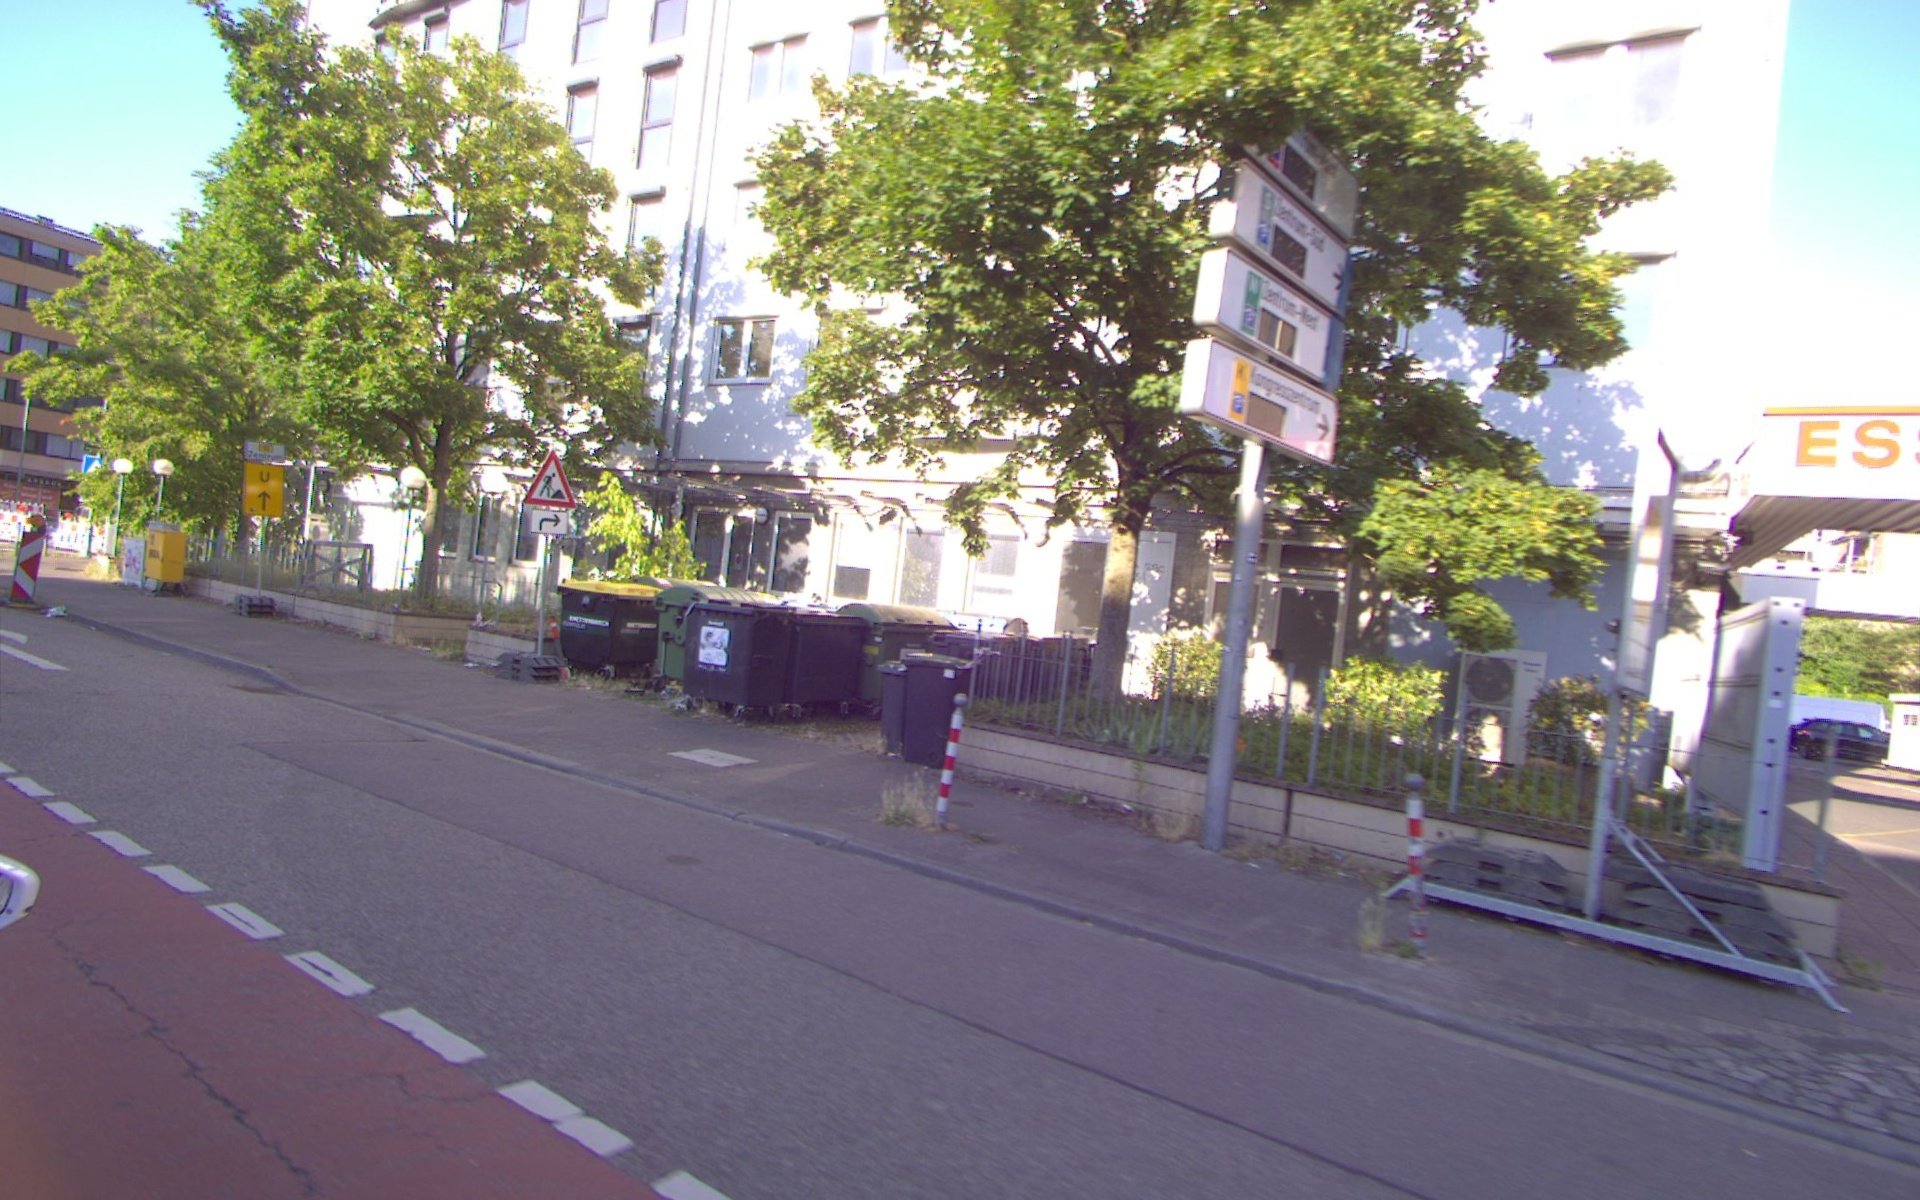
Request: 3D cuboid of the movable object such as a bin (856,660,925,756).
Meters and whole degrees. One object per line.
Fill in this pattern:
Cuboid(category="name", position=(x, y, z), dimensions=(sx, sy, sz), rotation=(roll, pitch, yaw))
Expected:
Cuboid(category="movable object such as a bin", position=(-0.717, 1.112, 10.400), dimensions=(0.483, 0.918, 0.393), rotation=(6, 0, 36))

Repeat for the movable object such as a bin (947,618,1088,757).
Cuboid(category="movable object such as a bin", position=(0.710, 1.018, 11.780), dimensions=(0.851, 1.427, 1.610), rotation=(6, -1, 32))

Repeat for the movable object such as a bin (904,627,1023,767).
Cuboid(category="movable object such as a bin", position=(0.041, 1.014, 10.662), dimensions=(0.851, 1.324, 0.778), rotation=(6, 0, 32))

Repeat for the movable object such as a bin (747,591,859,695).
Cuboid(category="movable object such as a bin", position=(-2.494, 0.701, 16.054), dimensions=(1.000, 1.503, 1.328), rotation=(6, -1, 32))

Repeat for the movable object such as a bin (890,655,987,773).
Cuboid(category="movable object such as a bin", position=(-0.209, 1.118, 9.968), dimensions=(0.607, 1.059, 0.619), rotation=(6, 0, 35))

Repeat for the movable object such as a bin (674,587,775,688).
Cuboid(category="movable object such as a bin", position=(-3.827, 0.618, 16.416), dimensions=(0.941, 1.503, 1.127), rotation=(6, 0, 33))

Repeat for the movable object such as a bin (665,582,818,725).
Cuboid(category="movable object such as a bin", position=(-2.551, 0.628, 11.788), dimensions=(1.234, 1.525, 1.094), rotation=(3, -2, 33))

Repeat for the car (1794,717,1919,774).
Cuboid(category="car", position=(33.975, 5.462, 37.607), dimensions=(3.933, 1.526, 1.692), rotation=(6, -1, 31))

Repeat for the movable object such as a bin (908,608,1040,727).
Cuboid(category="movable object such as a bin", position=(0.203, 0.930, 14.093), dimensions=(1.259, 1.439, 1.195), rotation=(8, 2, 36))

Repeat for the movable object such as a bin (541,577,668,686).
Cuboid(category="movable object such as a bin", position=(-4.973, 0.447, 14.146), dimensions=(1.035, 1.360, 1.218), rotation=(6, 0, 18))

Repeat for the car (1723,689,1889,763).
Cuboid(category="car", position=(38.464, 5.684, 45.956), dimensions=(5.394, 2.524, 1.692), rotation=(6, 0, 31))

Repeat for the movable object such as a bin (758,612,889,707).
Cuboid(category="movable object such as a bin", position=(-1.866, 0.840, 13.891), dimensions=(1.008, 1.142, 1.420), rotation=(6, -1, 34))

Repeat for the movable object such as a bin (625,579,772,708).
Cuboid(category="movable object such as a bin", position=(-3.446, 0.579, 13.382), dimensions=(1.189, 1.503, 1.330), rotation=(6, 0, 23))

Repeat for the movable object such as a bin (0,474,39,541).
Cuboid(category="movable object such as a bin", position=(-37.482, -3.707, 38.162), dimensions=(1.504, 2.411, 3.332), rotation=(6, -1, 32))

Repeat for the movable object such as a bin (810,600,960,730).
Cuboid(category="movable object such as a bin", position=(-0.961, 0.827, 13.055), dimensions=(1.260, 1.452, 1.307), rotation=(8, 2, 38))

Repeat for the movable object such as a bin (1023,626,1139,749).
Cuboid(category="movable object such as a bin", position=(1.592, 1.120, 13.097), dimensions=(0.851, 1.427, 1.407), rotation=(6, 0, 32))

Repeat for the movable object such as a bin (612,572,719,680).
Cuboid(category="movable object such as a bin", position=(-4.511, 0.417, 15.446), dimensions=(0.941, 1.503, 1.104), rotation=(6, 0, 32))

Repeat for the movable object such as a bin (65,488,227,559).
Cuboid(category="movable object such as a bin", position=(-38.839, -3.619, 48.174), dimensions=(2.506, 2.520, 5.359), rotation=(6, -1, 30))
